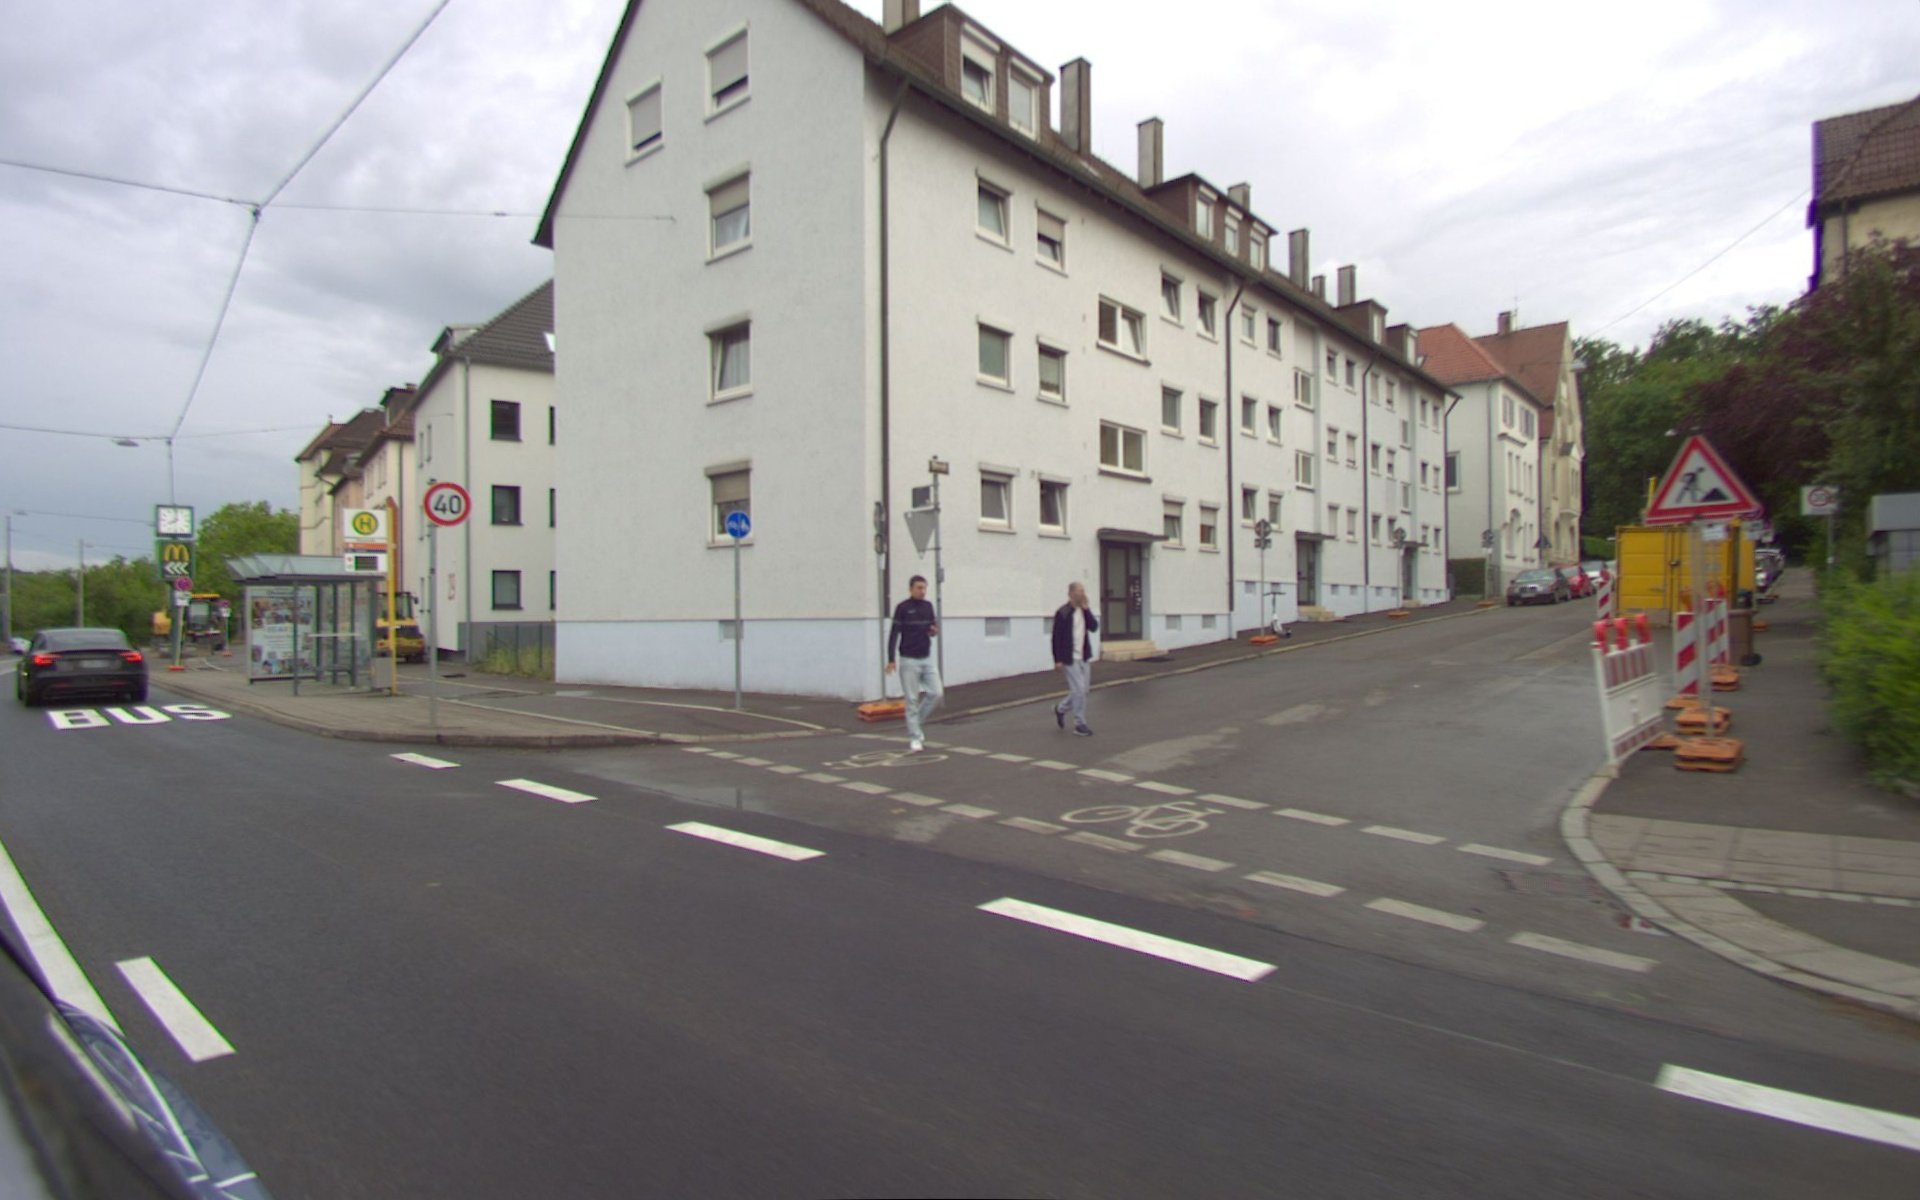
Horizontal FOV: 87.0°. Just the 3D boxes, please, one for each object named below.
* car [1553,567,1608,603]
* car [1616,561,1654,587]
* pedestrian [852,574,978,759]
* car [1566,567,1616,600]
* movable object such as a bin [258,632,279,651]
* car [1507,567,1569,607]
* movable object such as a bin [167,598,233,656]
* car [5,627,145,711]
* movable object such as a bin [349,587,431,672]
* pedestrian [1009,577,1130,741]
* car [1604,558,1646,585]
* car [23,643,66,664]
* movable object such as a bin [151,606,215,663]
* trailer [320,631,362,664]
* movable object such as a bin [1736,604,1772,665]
[{"bbox_3d":[27.223,-0.685,44.369,1.627,1.419,3.358,-3,1,39],"label":"car"},{"bbox_3d":[41.513,-1.610,62.204,1.627,1.419,3.358,-3,1,39],"label":"car"},{"bbox_3d":[-0.493,0.705,11.059,1.043,1.897,0.853,-2,-2,40],"label":"pedestrian"},{"bbox_3d":[30.487,-0.790,48.859,1.627,1.419,3.358,-3,1,39],"label":"car"},{"bbox_3d":[-49.051,2.912,71.839,1.141,1.312,1.251,0,-2,-31],"label":"movable object such as a bin"},{"bbox_3d":[23.002,-0.543,40.252,1.627,1.419,3.359,-3,1,38],"label":"car"},{"bbox_3d":[-53.942,1.947,72.029,2.907,3.873,8.151,-1,-2,-31],"label":"movable object such as a bin"},{"bbox_3d":[-17.665,1.289,20.128,4.391,1.463,1.763,-2,-2,44],"label":"car"},{"bbox_3d":[-20.905,1.087,37.000,2.101,2.828,4.991,-2,-1,-34],"label":"movable object such as a bin"},{"bbox_3d":[1.295,0.677,11.984,1.115,1.835,0.797,-3,-1,41],"label":"pedestrian"},{"bbox_3d":[37.771,-1.636,57.437,1.627,1.419,3.358,-3,1,39],"label":"car"},{"bbox_3d":[-64.847,3.781,71.739,1.580,1.312,3.723,-2,-1,-31],"label":"car"},{"bbox_3d":[-44.666,1.998,58.284,2.786,3.136,4.644,0,-2,-36],"label":"movable object such as a bin"},{"bbox_3d":[-28.296,2.150,46.202,1.306,1.409,4.005,-1,-1,-36],"label":"trailer"},{"bbox_3d":[13.073,0.567,16.664,0.432,0.986,0.324,-2,-1,37],"label":"movable object such as a bin"}]
